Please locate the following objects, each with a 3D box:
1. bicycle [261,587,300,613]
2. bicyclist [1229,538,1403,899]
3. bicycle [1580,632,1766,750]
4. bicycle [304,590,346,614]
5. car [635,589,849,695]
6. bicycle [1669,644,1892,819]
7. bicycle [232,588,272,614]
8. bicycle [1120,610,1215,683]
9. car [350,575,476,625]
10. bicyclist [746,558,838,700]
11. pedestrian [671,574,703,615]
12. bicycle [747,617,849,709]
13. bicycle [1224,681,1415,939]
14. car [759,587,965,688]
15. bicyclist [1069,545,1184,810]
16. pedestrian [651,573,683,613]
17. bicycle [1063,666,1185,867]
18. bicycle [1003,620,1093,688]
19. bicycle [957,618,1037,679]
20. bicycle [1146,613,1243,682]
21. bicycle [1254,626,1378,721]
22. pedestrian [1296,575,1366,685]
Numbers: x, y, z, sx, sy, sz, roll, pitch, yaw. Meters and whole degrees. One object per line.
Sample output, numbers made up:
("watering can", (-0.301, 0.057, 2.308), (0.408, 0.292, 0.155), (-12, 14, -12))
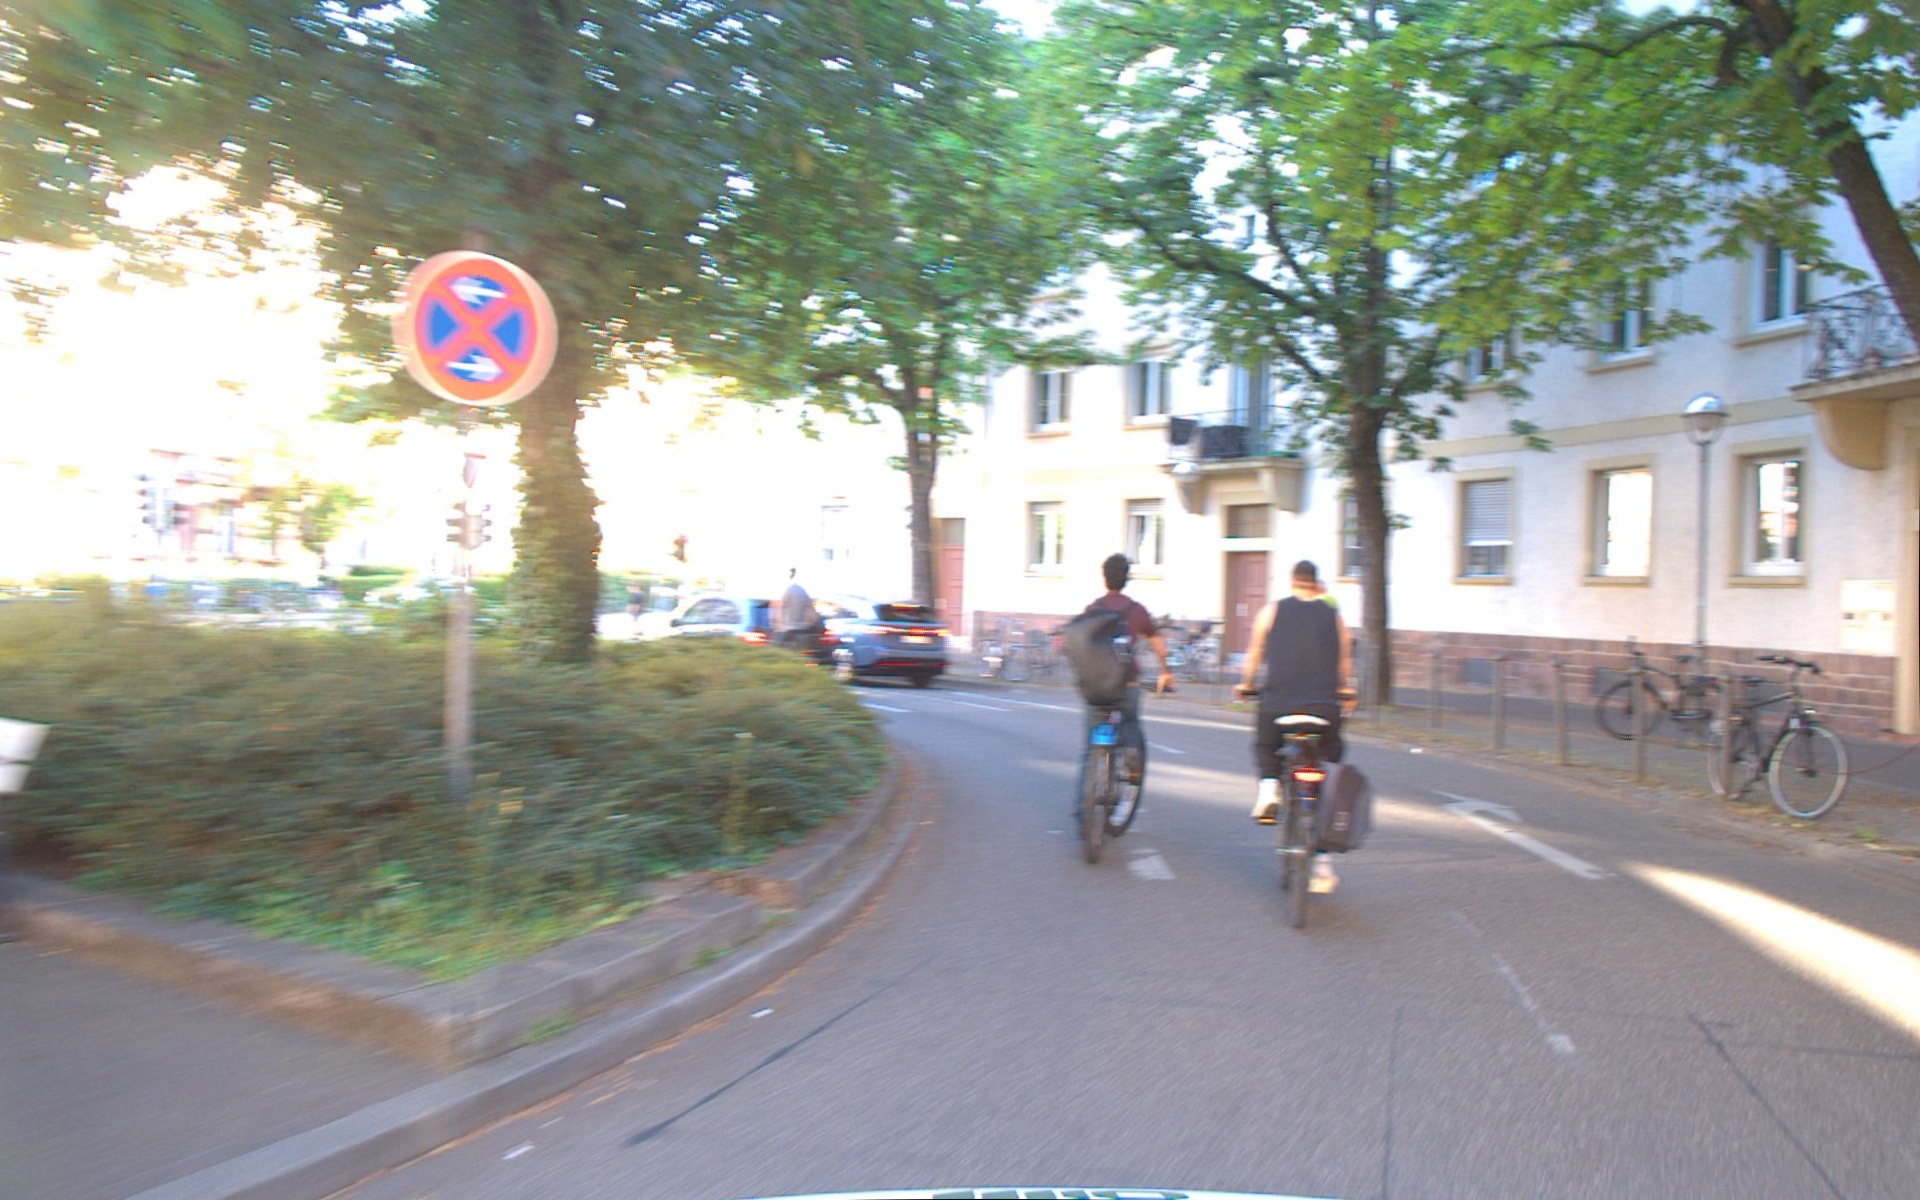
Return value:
("bicycle", (-23.683, 0.015, 57.647), (0.441, 0.877, 1.221), (2, 0, 30))
("bicyclist", (1.785, 0.562, 8.407), (0.736, 1.711, 0.914), (1, 0, 6))
("bicycle", (7.772, 0.964, 18.106), (0.664, 1.203, 1.803), (-1, 0, -31))
("bicycle", (-23.036, 0.076, 60.019), (0.441, 0.877, 1.444), (2, 0, 30))
("car", (-3.626, 0.619, 27.039), (1.799, 1.570, 3.906), (-1, 1, -37))
("bicycle", (6.242, 0.959, 12.719), (0.666, 1.179, 2.000), (0, 0, -2))
("bicycle", (-24.217, 0.037, 56.564), (0.441, 0.877, 1.221), (2, 0, 30))
("bicycle", (3.644, 0.801, 29.194), (0.489, 1.192, 2.096), (-3, 2, -29))
("car", (-18.530, -0.034, 56.269), (1.951, 1.522, 4.378), (2, 2, 16))
("bicyclist", (-2.363, 0.392, 23.221), (0.843, 1.931, 1.127), (1, 0, -33))
("pedestrian", (-13.779, -0.283, 83.651), (1.133, 1.996, 1.388), (2, 0, 11))
("bicycle", (-2.285, 0.860, 23.132), (0.591, 1.182, 2.020), (2, 0, -31))
("bicycle", (1.787, 0.997, 8.499), (0.722, 1.030, 2.063), (2, 0, 6))
("car", (-1.807, 0.624, 29.481), (1.876, 1.605, 3.952), (2, 0, -35))
("bicyclist", (1.045, 0.452, 10.224), (0.657, 1.541, 1.070), (1, 0, 8))
("pedestrian", (-14.944, -0.343, 84.274), (1.133, 1.996, 1.388), (2, 0, 11))
("bicycle", (1.062, 0.978, 10.368), (0.659, 1.072, 2.063), (0, -1, 8))
("bicycle", (1.509, 0.911, 28.634), (0.609, 1.076, 1.908), (-1, 1, -31))
("bicycle", (0.644, 0.860, 29.960), (0.513, 1.016, 2.174), (1, 0, -25))
("bicycle", (4.154, 0.832, 29.492), (0.575, 1.133, 2.097), (1, 1, -29))
("bicycle", (4.725, 0.950, 22.091), (0.607, 1.132, 1.979), (-2, 2, -22))
("pedestrian", (6.284, 0.485, 28.018), (0.985, 1.826, 0.652), (0, 1, -33))
